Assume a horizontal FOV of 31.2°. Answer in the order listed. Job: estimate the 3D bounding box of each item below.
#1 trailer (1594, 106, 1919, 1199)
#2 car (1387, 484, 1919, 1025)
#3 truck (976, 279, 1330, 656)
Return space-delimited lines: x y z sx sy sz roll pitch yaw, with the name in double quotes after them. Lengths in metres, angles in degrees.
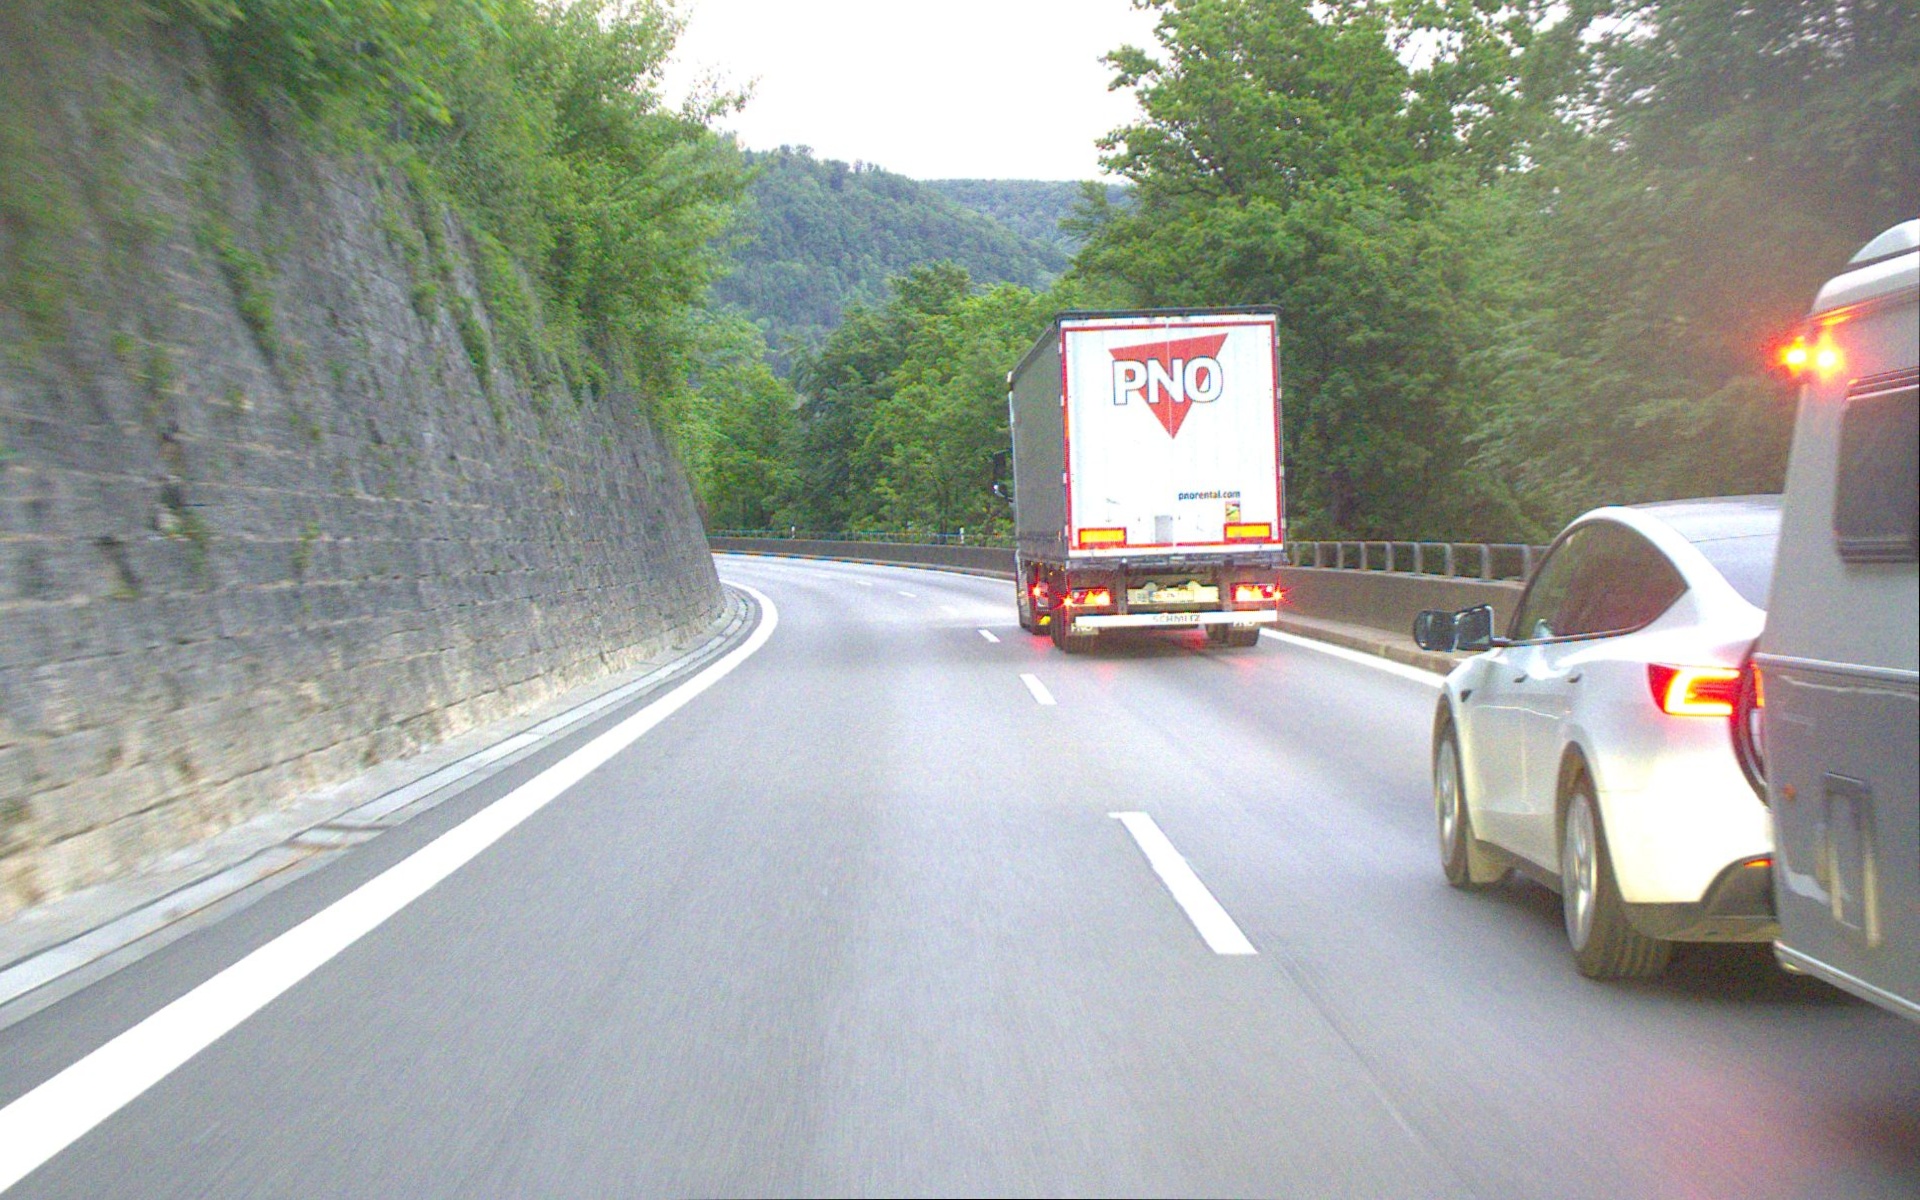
2.961 0.173 7.361 2.054 2.367 5.938 0 1 0 "trailer"
2.917 0.416 12.663 1.993 1.609 4.865 0 1 -1 "car"
2.215 -1.632 46.857 3.294 4.158 16.504 -1 1 -2 "truck"
